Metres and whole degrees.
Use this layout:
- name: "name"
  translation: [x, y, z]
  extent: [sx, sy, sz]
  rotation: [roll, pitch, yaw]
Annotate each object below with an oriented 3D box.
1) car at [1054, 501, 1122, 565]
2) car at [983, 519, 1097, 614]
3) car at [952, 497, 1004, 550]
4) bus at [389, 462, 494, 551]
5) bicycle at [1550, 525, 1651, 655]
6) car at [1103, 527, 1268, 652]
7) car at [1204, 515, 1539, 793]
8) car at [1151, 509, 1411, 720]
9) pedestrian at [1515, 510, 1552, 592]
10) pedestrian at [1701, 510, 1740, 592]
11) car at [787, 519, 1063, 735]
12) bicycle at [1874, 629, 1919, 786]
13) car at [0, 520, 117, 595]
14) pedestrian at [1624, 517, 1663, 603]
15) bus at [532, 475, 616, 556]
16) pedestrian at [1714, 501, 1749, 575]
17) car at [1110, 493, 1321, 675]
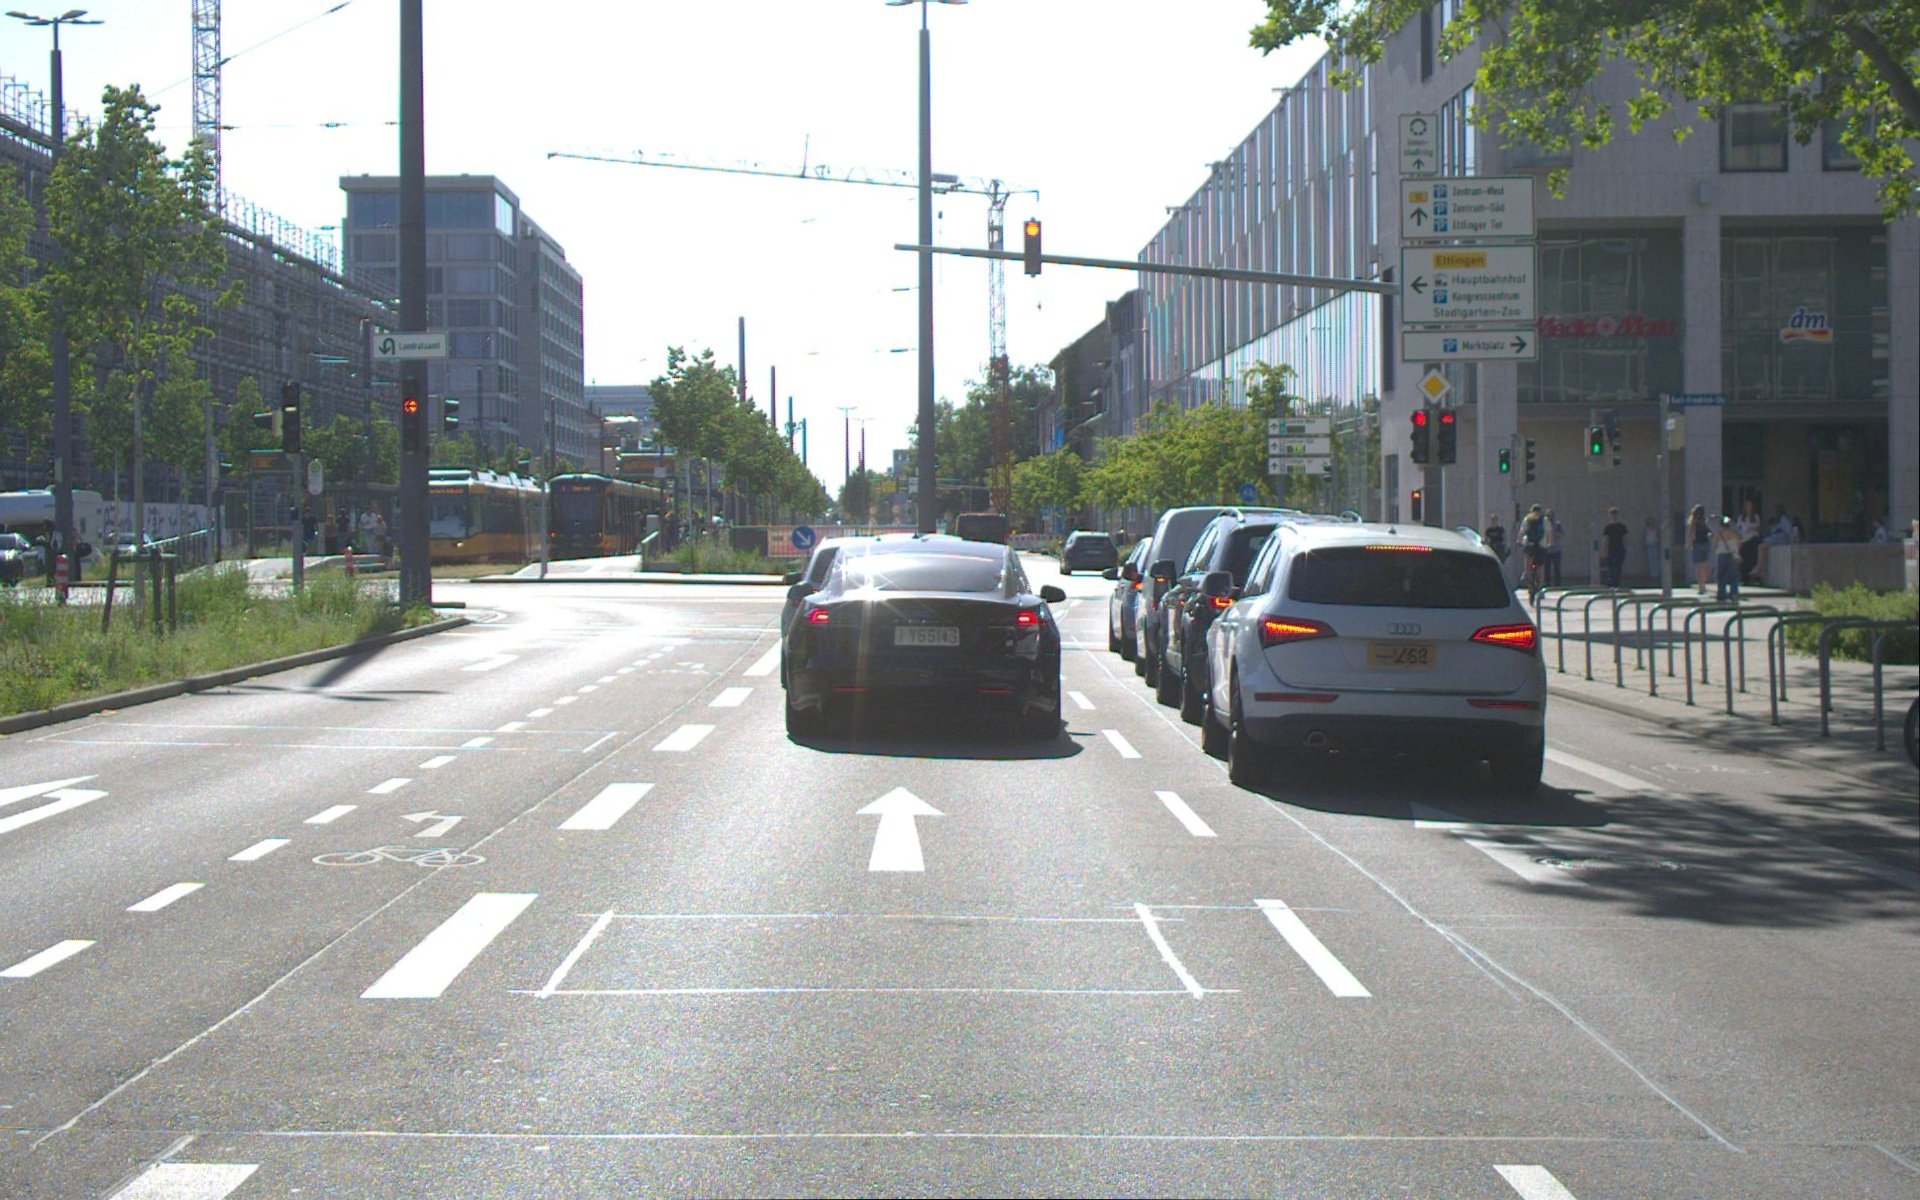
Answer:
- name: "car"
  translation: [4.200, -2.181, 113.360]
  extent: [1.993, 2.007, 4.000]
  rotation: [2, 0, 0]
- name: "car"
  translation: [1.239, -0.562, 54.814]
  extent: [1.721, 1.427, 4.186]
  rotation: [0, 2, 0]
- name: "car"
  translation: [0.702, -3.068, 138.952]
  extent: [1.993, 2.007, 4.000]
  rotation: [2, 0, 0]
- name: "bus"
  translation: [-17.516, -3.111, 116.677]
  extent: [2.627, 2.773, 8.846]
  rotation: [2, 0, -3]
- name: "bicycle"
  translation: [7.335, -0.124, 39.490]
  extent: [0.562, 1.435, 2.577]
  rotation: [2, 0, -2]
- name: "car"
  translation: [2.697, -0.168, 41.914]
  extent: [1.721, 1.427, 4.186]
  rotation: [0, 2, 0]
- name: "car"
  translation: [2.557, 0.263, 22.220]
  extent: [1.721, 1.612, 4.186]
  rotation: [0, 2, 1]
- name: "car"
  translation: [2.627, 0.061, 28.983]
  extent: [1.721, 1.647, 4.187]
  rotation: [0, 2, -1]
- name: "pedestrian"
  translation: [10.226, -0.871, 61.287]
  extent: [0.562, 1.435, 0.631]
  rotation: [2, 0, 6]
- name: "pedestrian"
  translation: [13.502, -0.864, 61.026]
  extent: [0.562, 1.435, 0.631]
  rotation: [2, 0, 6]
- name: "car"
  translation: [-0.294, 0.138, 25.849]
  extent: [1.912, 1.481, 4.010]
  rotation: [0, 2, -1]
- name: "bicycle"
  translation: [6.701, 0.652, 21.744]
  extent: [1.693, 0.954, 0.478]
  rotation: [-2, 2, -4]
- name: "car"
  translation: [-14.966, -0.697, 56.670]
  extent: [1.376, 1.174, 3.220]
  rotation: [2, 0, -1]
- name: "pedestrian"
  translation: [11.562, -0.681, 58.167]
  extent: [0.562, 1.435, 0.631]
  rotation: [2, 0, 6]
- name: "bus"
  translation: [-14.932, -3.222, 133.599]
  extent: [2.627, 2.949, 9.900]
  rotation: [2, 0, -3]
- name: "pedestrian"
  translation: [15.203, -1.213, 67.737]
  extent: [0.562, 1.435, 0.631]
  rotation: [2, 0, 6]
- name: "car"
  translation: [2.591, -0.211, 35.661]
  extent: [1.721, 1.776, 4.187]
  rotation: [0, 2, -2]
